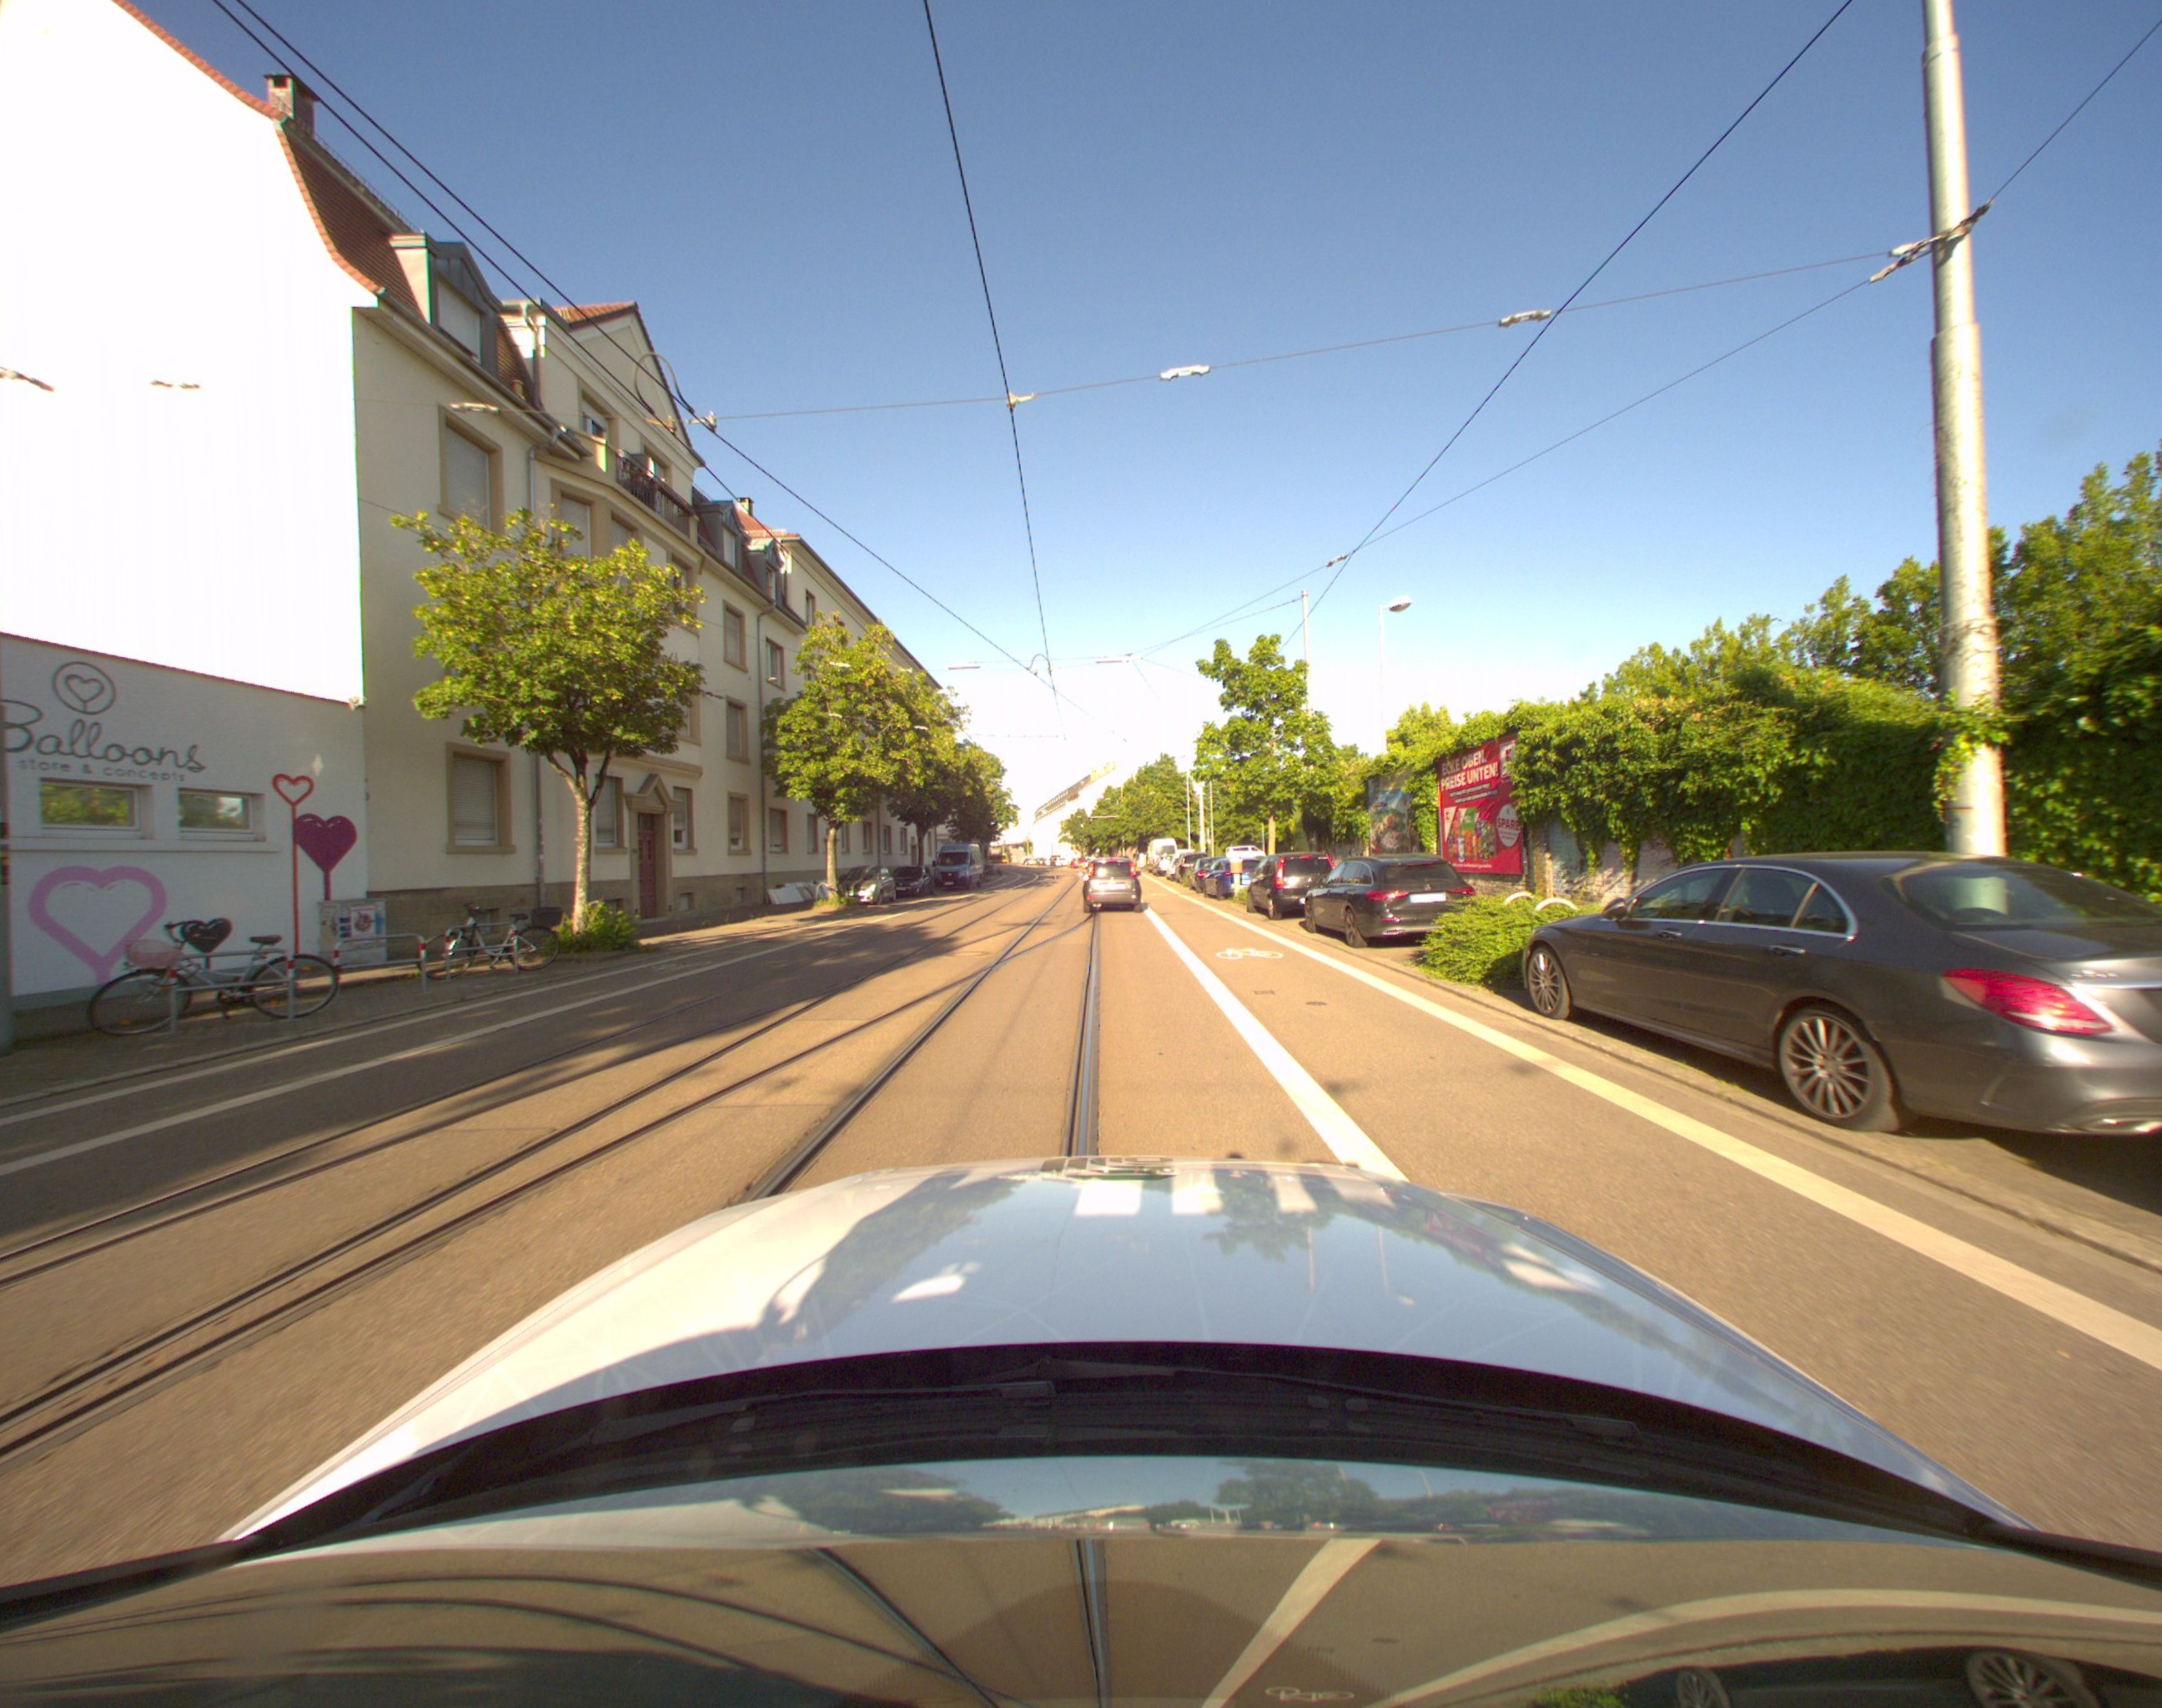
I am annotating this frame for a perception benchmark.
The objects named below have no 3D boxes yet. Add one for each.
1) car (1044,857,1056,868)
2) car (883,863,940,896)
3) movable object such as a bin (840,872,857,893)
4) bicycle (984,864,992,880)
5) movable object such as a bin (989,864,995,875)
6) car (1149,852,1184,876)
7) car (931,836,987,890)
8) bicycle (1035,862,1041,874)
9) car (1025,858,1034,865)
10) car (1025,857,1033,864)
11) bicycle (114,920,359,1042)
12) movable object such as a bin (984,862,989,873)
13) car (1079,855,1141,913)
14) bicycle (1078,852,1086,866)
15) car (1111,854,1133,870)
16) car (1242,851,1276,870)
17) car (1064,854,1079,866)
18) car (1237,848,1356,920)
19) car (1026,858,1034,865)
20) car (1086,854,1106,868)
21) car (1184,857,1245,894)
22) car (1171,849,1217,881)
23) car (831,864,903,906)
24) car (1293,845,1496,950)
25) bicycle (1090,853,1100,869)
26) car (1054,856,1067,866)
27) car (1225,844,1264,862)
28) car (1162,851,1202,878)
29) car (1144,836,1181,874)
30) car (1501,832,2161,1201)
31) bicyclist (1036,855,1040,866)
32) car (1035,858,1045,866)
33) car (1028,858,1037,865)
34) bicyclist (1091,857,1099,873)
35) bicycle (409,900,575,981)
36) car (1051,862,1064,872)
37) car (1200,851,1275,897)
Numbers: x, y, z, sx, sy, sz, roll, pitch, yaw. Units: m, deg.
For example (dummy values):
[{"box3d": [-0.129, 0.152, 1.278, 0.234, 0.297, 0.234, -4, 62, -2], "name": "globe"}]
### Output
[{"box3d": [-5.702, 1.519, 148.096, 1.655, 1.944, 4.649, -1, 0, -9], "name": "car"}, {"box3d": [-7.962, 1.173, 38.612, 1.645, 1.425, 4.191, -1, 0, 2], "name": "car"}, {"box3d": [-10.757, 1.311, 37.630, 0.594, 0.934, 0.568, -2, 0, -2], "name": "movable object such as a bin"}, {"box3d": [-6.821, 1.331, 59.577, 0.511, 1.134, 2.027, -1, 0, -5], "name": "bicycle"}, {"box3d": [-8.253, 1.464, 75.517, 0.484, 0.987, 0.658, -1, -1, -6], "name": "movable object such as a bin"}, {"box3d": [5.955, 0.687, 57.168, 1.904, 1.530, 4.600, -2, 0, 0], "name": "car"}, {"box3d": [-6.903, 0.494, 46.598, 2.009, 2.826, 6.035, -1, 0, 3], "name": "car"}, {"box3d": [-7.762, 2.504, 147.697, 0.741, 2.014, 2.802, -1, -1, -9], "name": "bicycle"}, {"box3d": [-12.252, 1.802, 193.488, 1.583, 1.599, 3.365, -1, 0, -10], "name": "car"}, {"box3d": [-11.913, 1.480, 186.803, 1.583, 1.599, 3.365, -1, 0, -10], "name": "car"}, {"box3d": [-9.110, 1.311, 8.856, 0.661, 1.040, 1.798, -1, -1, 39], "name": "bicycle"}, {"box3d": [-8.741, 1.214, 75.516, 0.484, 0.987, 0.658, -1, -1, -6], "name": "movable object such as a bin"}, {"box3d": [0.834, 0.803, 23.888, 1.644, 1.541, 4.235, 0, 0, 1], "name": "car"}, {"box3d": [0.112, 0.632, 99.022, 0.675, 1.747, 2.150, -1, -1, -9], "name": "bicycle"}, {"box3d": [4.179, 0.800, 83.233, 1.686, 1.530, 3.992, -3, 0, -5], "name": "car"}, {"box3d": [10.240, 0.381, 46.956, 1.305, 1.033, 3.056, -1, 0, 0], "name": "car"}, {"box3d": [-1.303, 0.804, 114.567, 1.635, 1.508, 3.387, -4, 0, -8], "name": "car"}, {"box3d": [5.175, 0.675, 20.060, 1.819, 1.492, 3.813, -4, 0, 0], "name": "car"}, {"box3d": [-11.319, 1.628, 180.830, 1.583, 1.599, 3.365, -1, 0, -10], "name": "car"}, {"box3d": [1.806, 0.872, 99.857, 1.690, 1.530, 3.984, -3, 0, -11], "name": "car"}, {"box3d": [5.587, 0.862, 34.585, 1.723, 1.464, 4.495, -1, 0, -1], "name": "car"}, {"box3d": [5.954, 0.558, 43.275, 1.723, 1.604, 4.340, -1, 0, -1], "name": "car"}, {"box3d": [-8.403, 1.185, 32.298, 1.645, 1.491, 4.001, -1, 0, 2], "name": "car"}, {"box3d": [5.128, 0.642, 14.066, 1.817, 1.452, 4.644, -2, 0, 2], "name": "car"}, {"box3d": [1.519, 0.754, 89.254, 0.675, 1.747, 2.150, -1, -1, -9], "name": "bicycle"}, {"box3d": [-3.369, 1.180, 132.780, 1.655, 1.571, 3.488, -1, 0, -9], "name": "car"}, {"box3d": [20.288, -0.081, 101.044, 4.273, 2.013, 1.771, -3, 0, -5], "name": "car"}, {"box3d": [5.895, 0.599, 48.061, 1.723, 1.512, 4.249, -1, 0, -1], "name": "car"}, {"box3d": [6.331, 0.084, 64.018, 2.173, 2.665, 6.090, -4, 0, 0], "name": "car"}, {"box3d": [4.903, 0.662, 5.580, 1.817, 1.484, 4.604, -1, 0, 2], "name": "car"}, {"box3d": [-7.775, 1.238, 147.672, 0.715, 2.014, 0.829, -1, -1, -10], "name": "bicyclist"}, {"box3d": [-8.136, 1.603, 162.692, 1.583, 1.405, 3.365, -5, 0, -10], "name": "car"}, {"box3d": [-10.522, 1.649, 175.067, 1.583, 1.405, 3.365, -1, 0, -10], "name": "car"}, {"box3d": [1.512, 1.243, 89.297, 0.699, 1.759, 0.755, -1, -1, -10], "name": "bicyclist"}, {"box3d": [-8.969, 1.282, 12.465, 1.998, 1.040, 0.526, 0, -1, -45], "name": "bicycle"}, {"box3d": [-3.936, 2.147, 137.131, 1.655, 1.571, 3.863, -1, 0, -9], "name": "car"}, {"box3d": [5.432, 0.666, 28.748, 1.723, 1.464, 4.338, -1, 0, -1], "name": "car"}]
